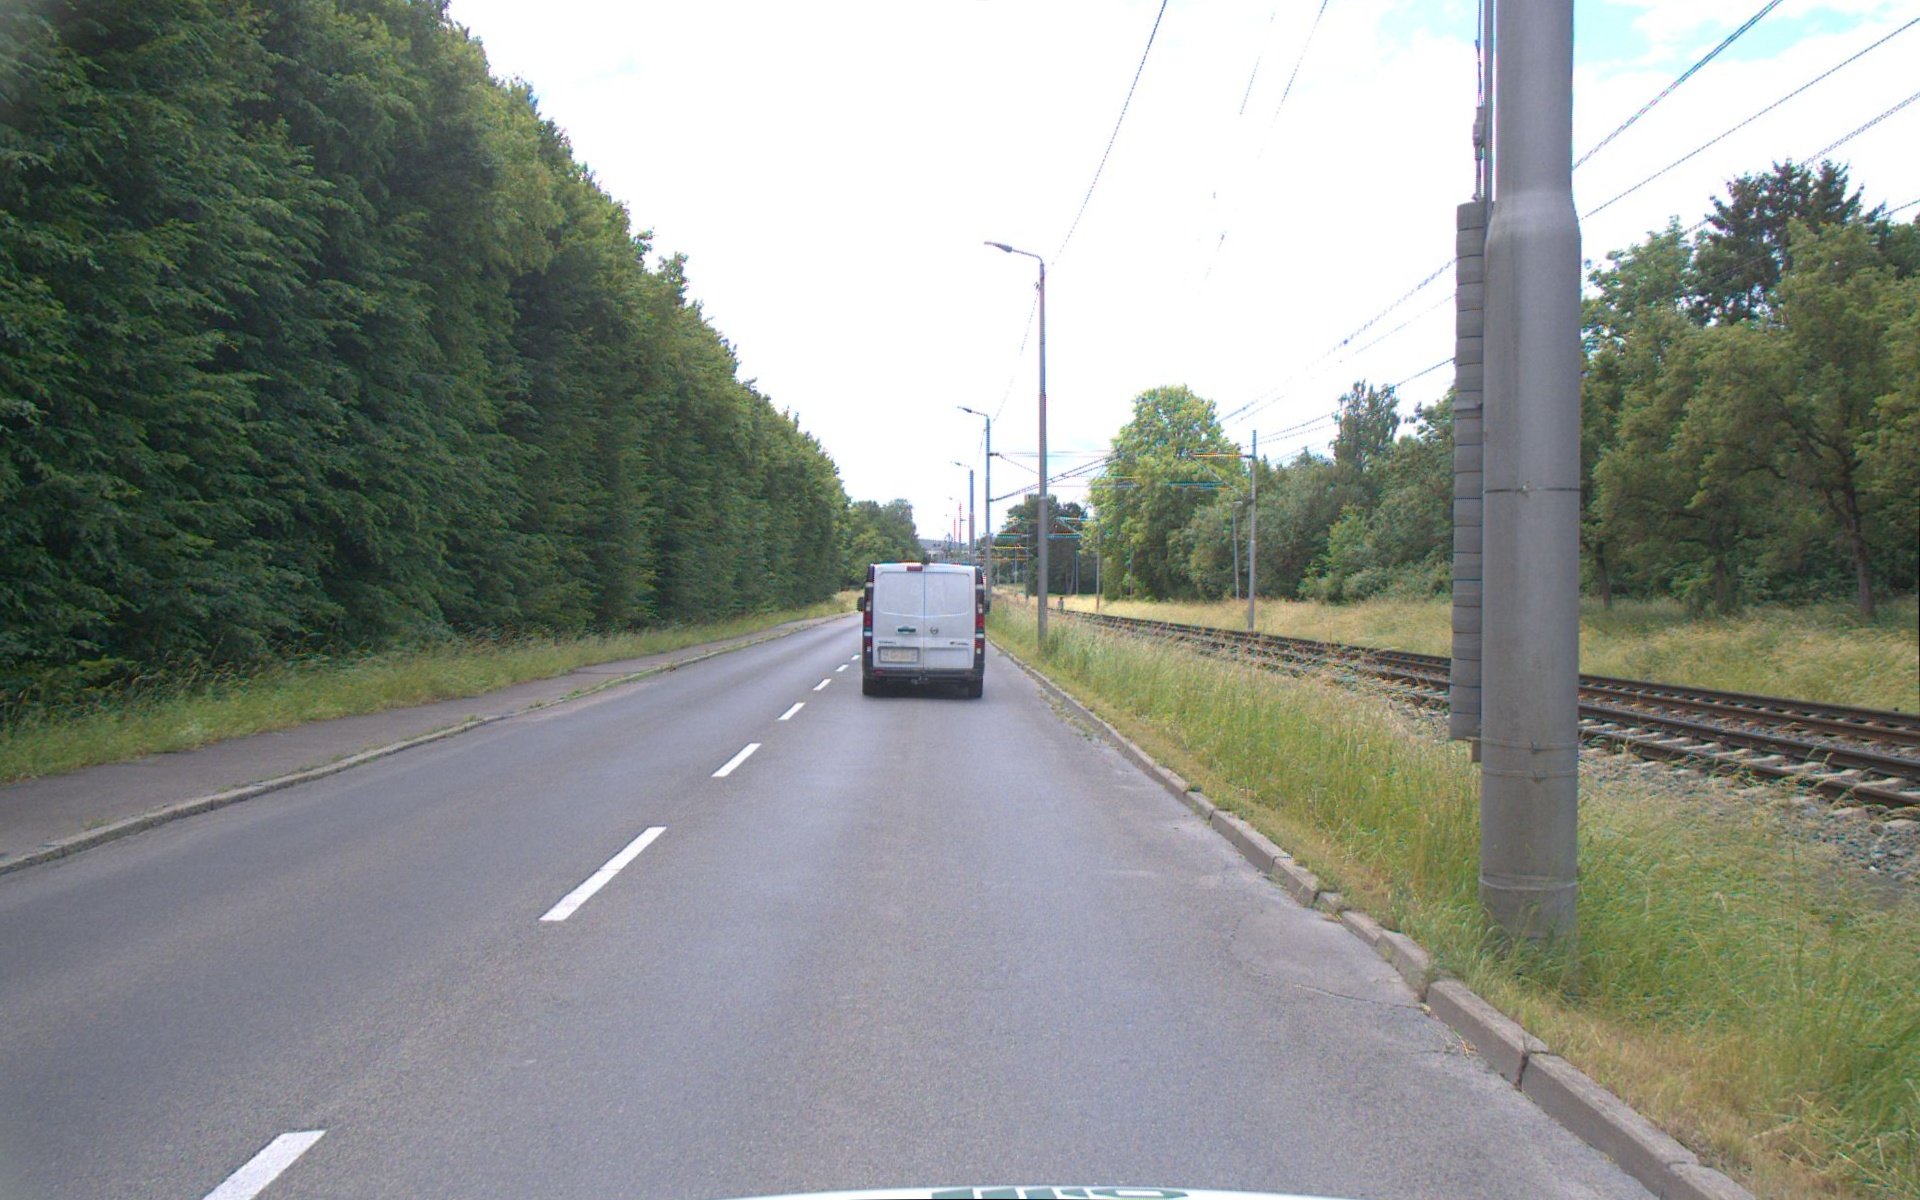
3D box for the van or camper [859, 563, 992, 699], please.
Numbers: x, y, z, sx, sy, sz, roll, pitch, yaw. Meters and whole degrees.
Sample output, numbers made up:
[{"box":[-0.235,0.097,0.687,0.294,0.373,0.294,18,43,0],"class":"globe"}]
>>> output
[{"box":[-0.598,0.435,25.880,1.903,1.930,4.282,0,0,-3],"class":"van or camper"}]
